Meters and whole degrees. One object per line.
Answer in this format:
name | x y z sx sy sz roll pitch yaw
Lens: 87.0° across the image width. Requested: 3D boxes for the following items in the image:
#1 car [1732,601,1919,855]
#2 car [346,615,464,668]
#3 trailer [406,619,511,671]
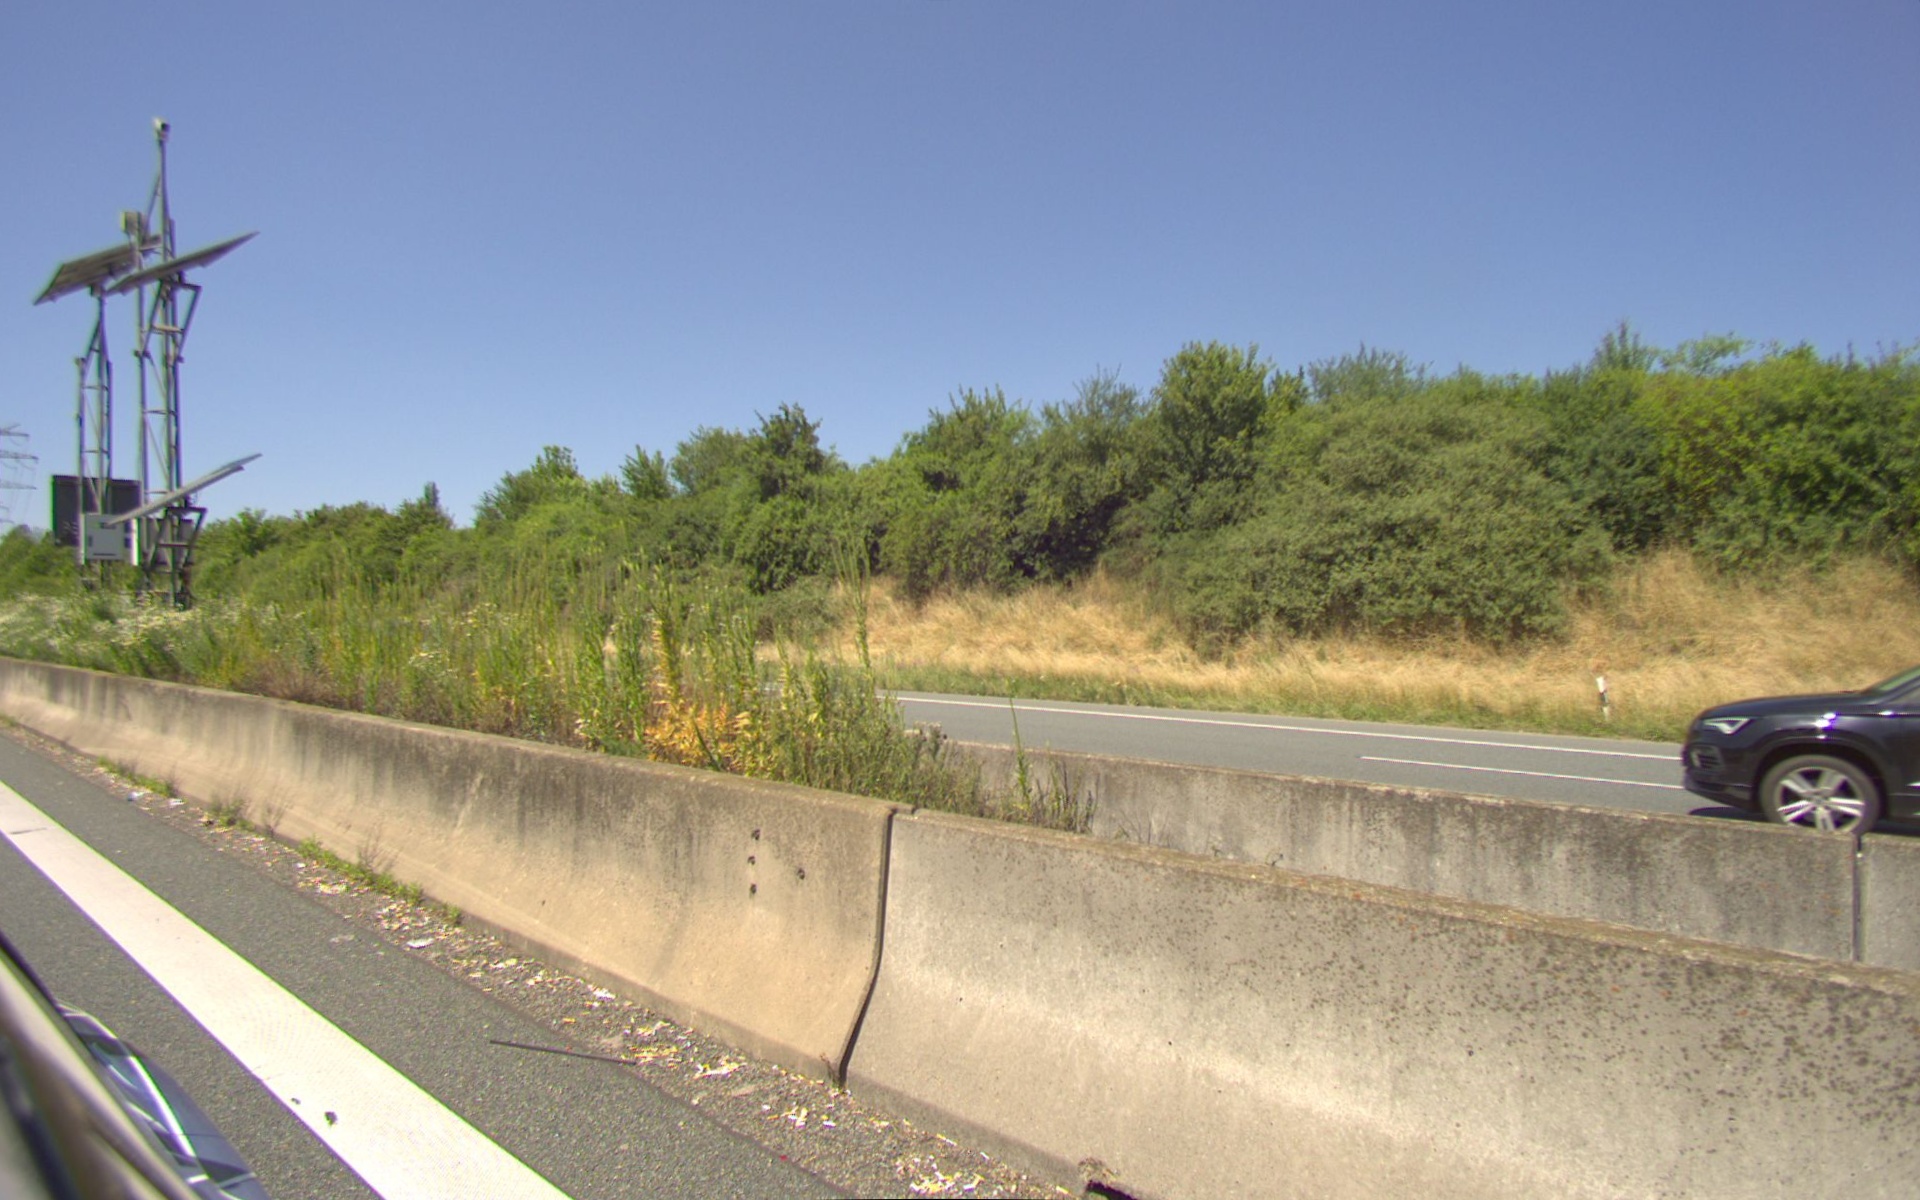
car | 7.901 0.895 6.879 4.149 1.697 1.973 -1 -4 40
car | -19.059 1.409 34.669 4.626 1.662 1.973 -1 -4 40
trailer | -15.840 1.397 31.913 3.776 1.564 1.552 -1 -3 40
